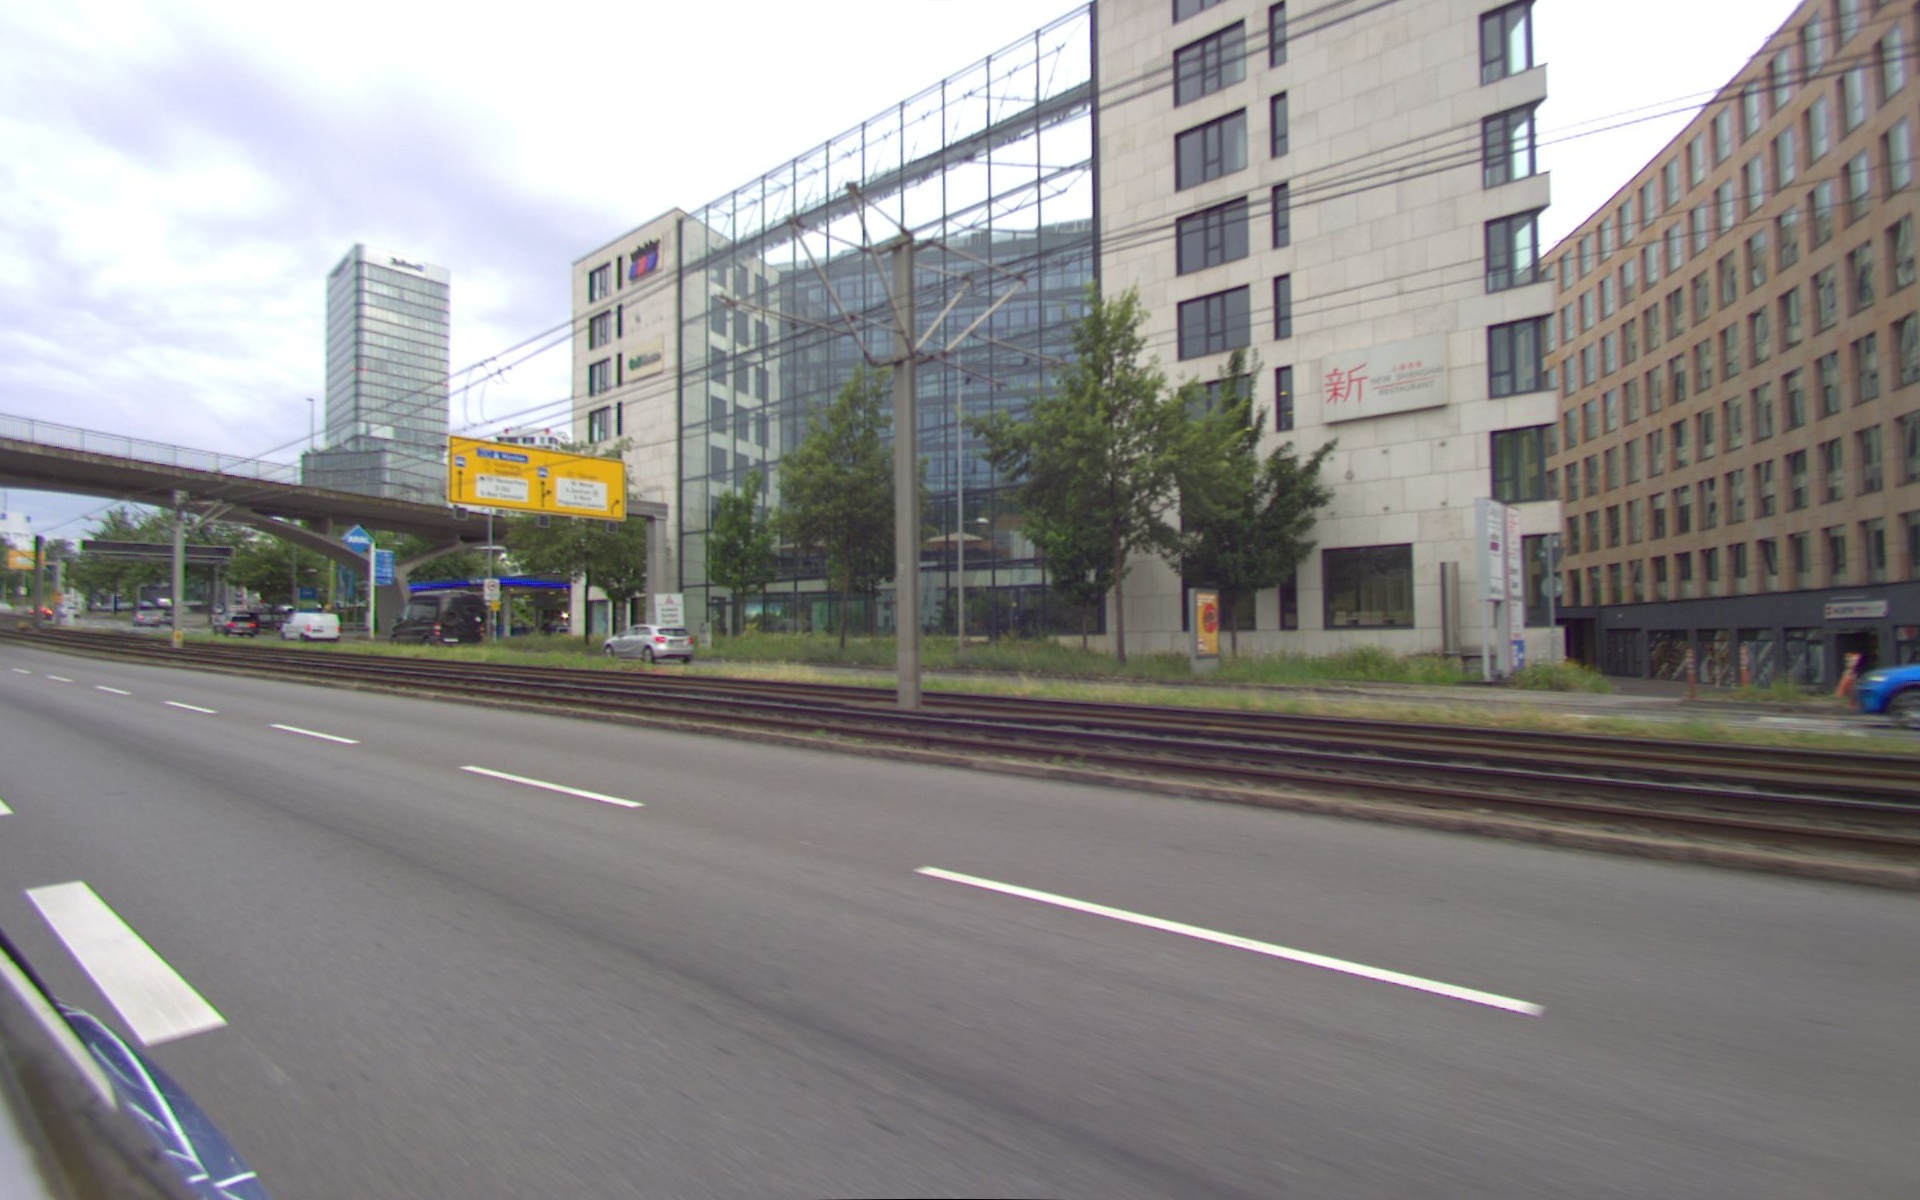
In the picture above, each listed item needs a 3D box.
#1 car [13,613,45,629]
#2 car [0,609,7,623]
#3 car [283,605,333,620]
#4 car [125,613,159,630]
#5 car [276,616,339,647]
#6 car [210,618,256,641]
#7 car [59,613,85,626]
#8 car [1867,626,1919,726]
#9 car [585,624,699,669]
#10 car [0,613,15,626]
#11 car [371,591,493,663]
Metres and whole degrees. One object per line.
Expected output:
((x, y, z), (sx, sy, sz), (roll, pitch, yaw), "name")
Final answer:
((-96.382, 2.182, 104.757), (4.863, 1.545, 1.792), (-1, 0, 39), "car")
((-124.856, 2.063, 130.782), (4.218, 1.790, 1.902), (-2, -1, 38), "car")
((-71.413, 1.363, 110.815), (1.885, 1.515, 4.305), (1, 1, 43), "car")
((-76.930, 2.030, 95.137), (4.273, 1.545, 1.791), (-1, 0, 41), "car")
((-39.425, 1.870, 61.111), (5.060, 1.775, 1.917), (-1, 0, 42), "car")
((-52.482, 2.117, 73.019), (4.489, 1.618, 1.791), (-1, 0, 42), "car")
((-113.507, 2.495, 129.388), (4.655, 1.509, 1.900), (-1, -4, 42), "car")
((16.487, 1.221, 15.352), (4.023, 1.465, 1.821), (1, 1, 42), "car")
((-11.990, 1.682, 37.983), (4.812, 1.545, 1.742), (-1, 0, 40), "car")
((-115.445, 2.367, 122.070), (4.790, 1.610, 1.746), (-1, 0, 42), "car")
((-22.296, 1.100, 42.627), (5.601, 2.839, 2.362), (-1, 0, 37), "car")
